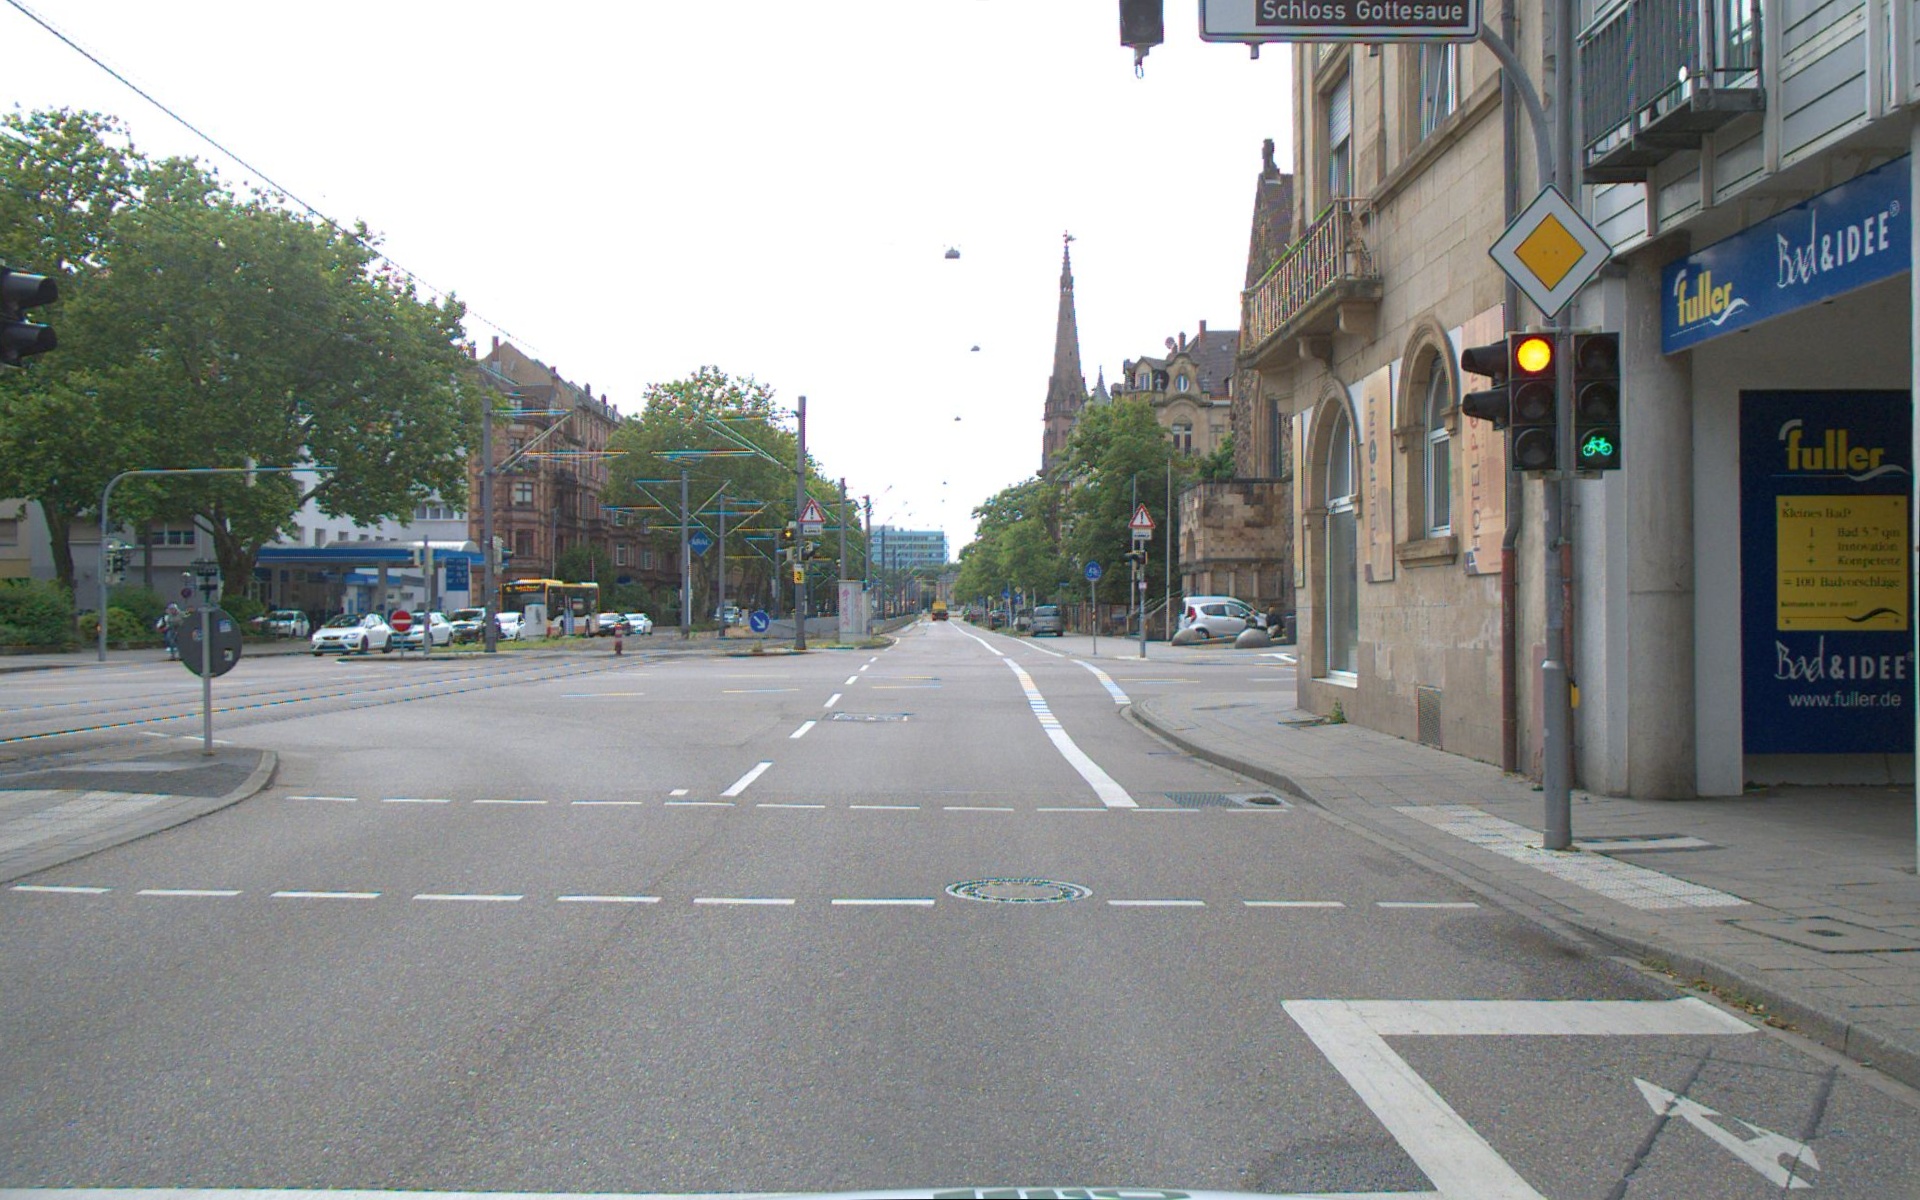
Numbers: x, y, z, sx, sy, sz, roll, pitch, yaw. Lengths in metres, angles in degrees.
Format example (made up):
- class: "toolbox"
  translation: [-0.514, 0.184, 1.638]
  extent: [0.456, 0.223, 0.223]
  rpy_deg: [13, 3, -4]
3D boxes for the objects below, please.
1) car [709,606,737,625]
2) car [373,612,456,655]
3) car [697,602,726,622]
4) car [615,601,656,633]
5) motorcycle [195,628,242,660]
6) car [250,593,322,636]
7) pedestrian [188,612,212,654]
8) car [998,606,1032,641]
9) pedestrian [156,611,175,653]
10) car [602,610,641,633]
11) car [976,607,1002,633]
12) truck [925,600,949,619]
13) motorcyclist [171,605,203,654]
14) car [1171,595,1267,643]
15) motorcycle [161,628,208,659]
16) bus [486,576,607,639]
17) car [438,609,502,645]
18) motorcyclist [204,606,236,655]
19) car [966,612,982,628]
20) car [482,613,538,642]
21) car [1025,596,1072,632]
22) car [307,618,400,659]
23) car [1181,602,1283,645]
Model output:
- class: "car"
  translation: [-21.323, 1.377, 148.985]
  extent: [1.953, 1.639, 3.999]
  rpy_deg: [1, 0, -1]
- class: "car"
  translation: [-21.417, 1.293, 65.122]
  extent: [1.953, 1.622, 3.999]
  rpy_deg: [1, 0, -1]
- class: "car"
  translation: [-21.207, 1.020, 141.176]
  extent: [1.953, 1.639, 3.999]
  rpy_deg: [1, 0, -1]
- class: "car"
  translation: [-21.399, 1.133, 109.253]
  extent: [1.953, 2.049, 3.999]
  rpy_deg: [1, 0, -1]
- class: "motorcycle"
  translation: [-23.451, 1.380, 52.343]
  extent: [0.594, 0.945, 1.951]
  rpy_deg: [0, 0, 0]
- class: "car"
  translation: [-32.874, 0.692, 80.793]
  extent: [1.953, 2.049, 3.999]
  rpy_deg: [0, 0, -1]
- class: "pedestrian"
  translation: [-27.423, 1.183, 59.685]
  extent: [0.634, 1.505, 0.557]
  rpy_deg: [0, 0, -1]
- class: "car"
  translation: [3.299, 1.409, 99.675]
  extent: [1.952, 2.049, 4.000]
  rpy_deg: [1, 0, 1]
- class: "pedestrian"
  translation: [-28.538, 1.157, 59.391]
  extent: [0.466, 1.485, 0.426]
  rpy_deg: [0, 0, -1]
- class: "car"
  translation: [-20.843, 1.307, 101.918]
  extent: [1.622, 1.344, 3.638]
  rpy_deg: [1, 0, 1]
- class: "car"
  translation: [2.390, 1.612, 136.127]
  extent: [1.953, 2.049, 3.999]
  rpy_deg: [1, 0, -1]
- class: "truck"
  translation: [-3.517, 1.401, 254.556]
  extent: [2.991, 2.817, 9.819]
  rpy_deg: [0, 0, 3]
- class: "motorcyclist"
  translation: [-24.794, 0.936, 53.054]
  extent: [0.607, 1.546, 0.873]
  rpy_deg: [0, 0, -1]
- class: "car"
  translation: [10.697, 0.783, 68.546]
  extent: [3.638, 1.888, 2.000]
  rpy_deg: [1, 0, -1]
- class: "motorcycle"
  translation: [-24.804, 1.376, 52.902]
  extent: [0.594, 0.945, 1.951]
  rpy_deg: [0, 0, 0]
- class: "bus"
  translation: [-21.958, 0.421, 88.748]
  extent: [3.164, 3.088, 12.312]
  rpy_deg: [1, 0, 1]
- class: "car"
  translation: [-21.216, 1.144, 71.775]
  extent: [1.622, 1.504, 3.638]
  rpy_deg: [1, 0, 1]
- class: "motorcyclist"
  translation: [-23.432, 0.958, 52.366]
  extent: [0.607, 1.546, 0.873]
  rpy_deg: [0, 0, -1]
- class: "car"
  translation: [1.792, 2.636, 216.815]
  extent: [1.953, 2.049, 3.999]
  rpy_deg: [1, 0, -1]
- class: "car"
  translation: [-21.372, 1.288, 78.694]
  extent: [1.622, 1.344, 3.638]
  rpy_deg: [1, 0, 1]
- class: "car"
  translation: [4.824, 0.760, 90.038]
  extent: [1.951, 1.888, 4.030]
  rpy_deg: [1, 0, 12]
- class: "car"
  translation: [-21.431, 1.338, 58.597]
  extent: [1.711, 1.344, 4.075]
  rpy_deg: [1, 0, 1]
- class: "car"
  translation: [10.680, 0.915, 65.100]
  extent: [3.638, 1.591, 2.000]
  rpy_deg: [1, 0, -1]
